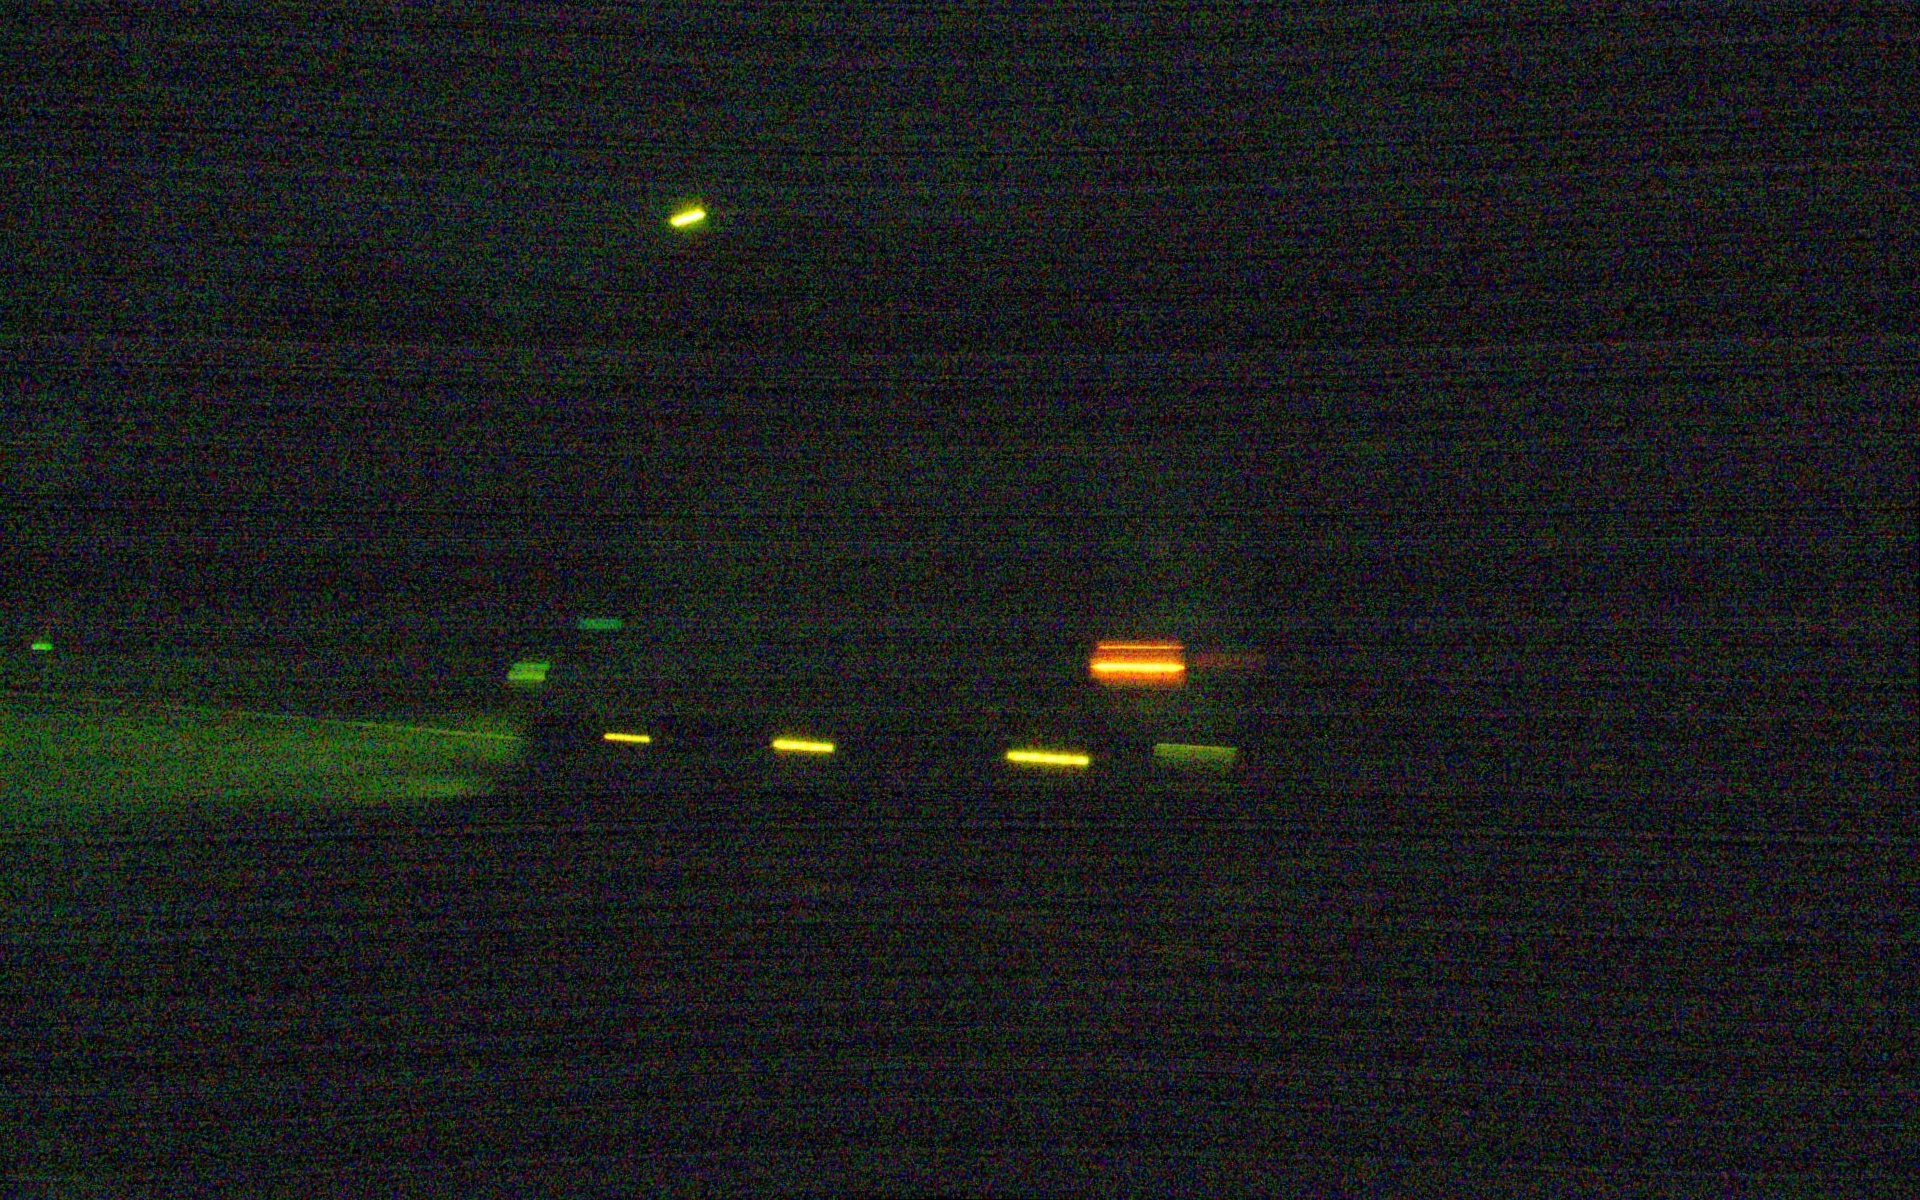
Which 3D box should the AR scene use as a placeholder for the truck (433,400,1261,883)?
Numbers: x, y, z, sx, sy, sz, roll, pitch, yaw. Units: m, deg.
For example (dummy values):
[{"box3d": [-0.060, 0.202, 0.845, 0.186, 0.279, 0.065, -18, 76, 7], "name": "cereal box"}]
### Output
[{"box3d": [-1.360, 0.343, 8.447, 7.203, 2.725, 2.074, -1, -2, 32], "name": "truck"}]
